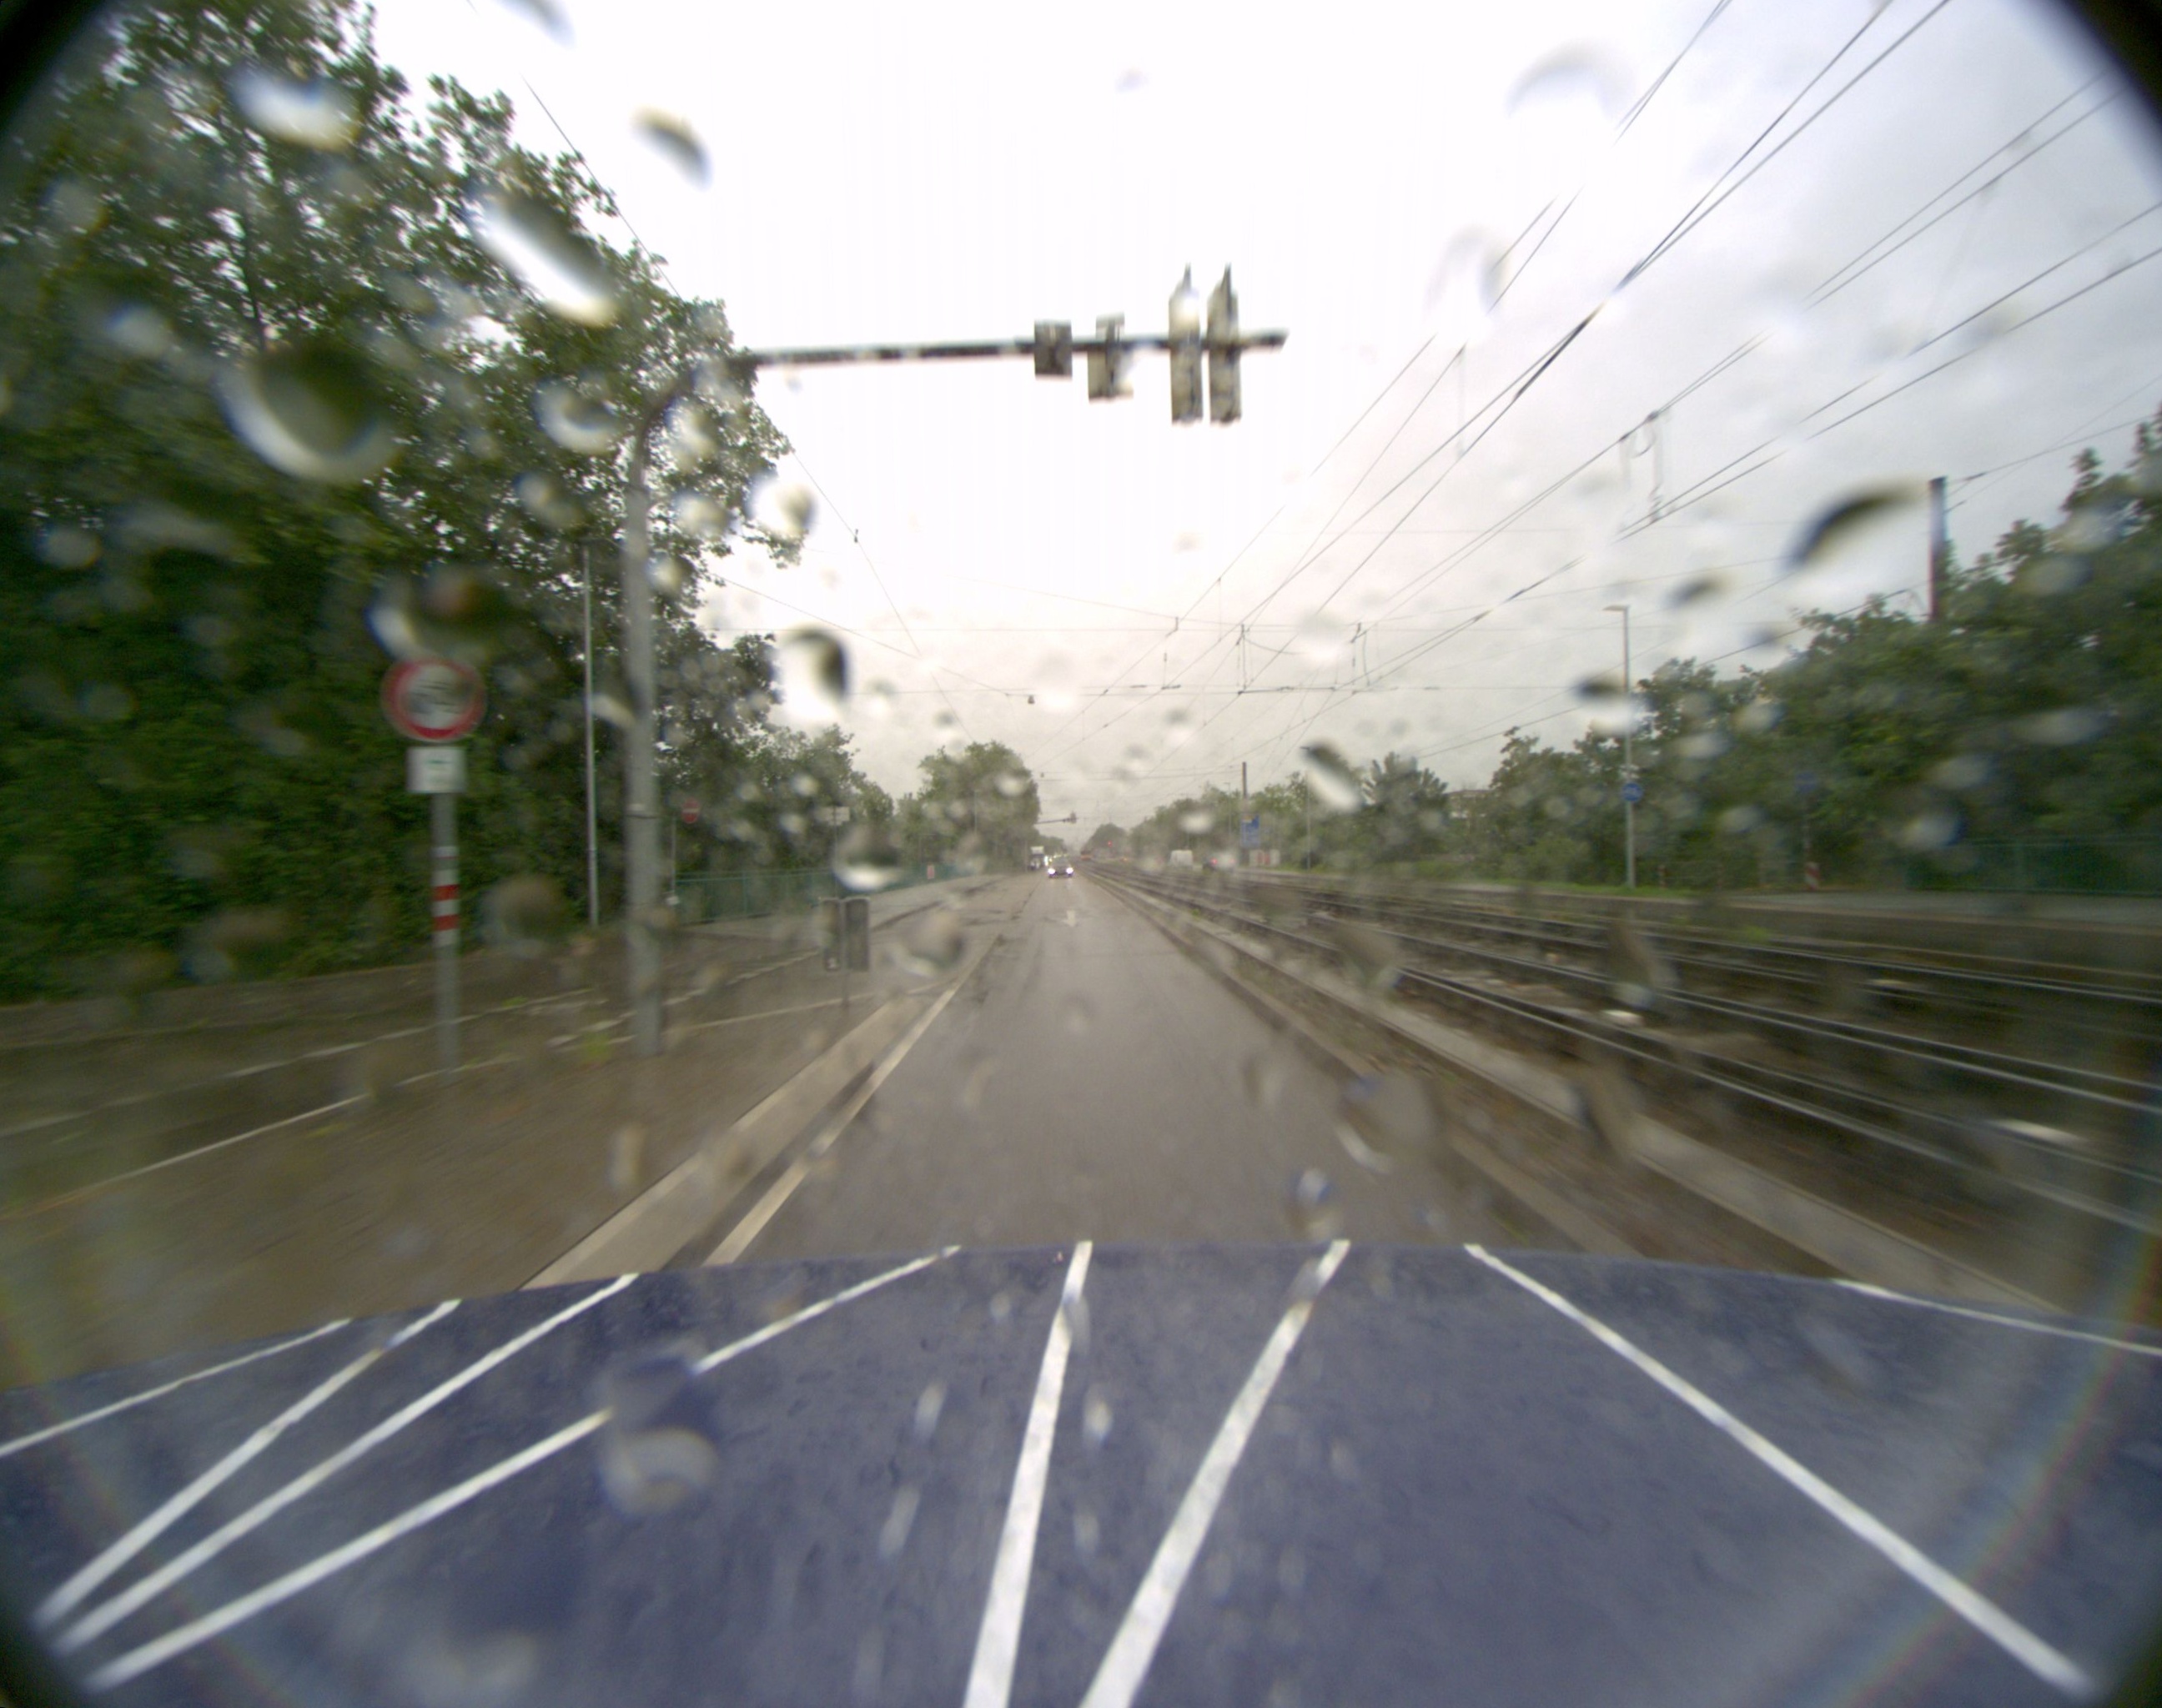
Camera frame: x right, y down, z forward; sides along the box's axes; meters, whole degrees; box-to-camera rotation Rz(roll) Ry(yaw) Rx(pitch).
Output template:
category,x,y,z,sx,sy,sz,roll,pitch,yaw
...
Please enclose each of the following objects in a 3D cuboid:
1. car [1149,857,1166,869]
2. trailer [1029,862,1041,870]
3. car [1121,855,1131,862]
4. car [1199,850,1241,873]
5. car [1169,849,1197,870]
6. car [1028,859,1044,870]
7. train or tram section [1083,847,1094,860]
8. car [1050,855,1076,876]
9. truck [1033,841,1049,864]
category,x,y,z,sx,sy,sz,roll,pitch,yaw
car,10.417,1.221,103.772,1.728,1.591,3.650,-3,1,-2
trailer,-6.016,1.537,99.609,1.547,0.931,3.275,-3,-1,-2
car,10.583,1.012,178.872,1.999,1.639,5.370,-3,0,-2
car,10.761,0.555,59.234,1.999,1.639,5.370,-3,0,-2
car,10.571,0.559,79.207,1.999,2.032,5.027,-3,0,-2
car,-6.259,1.454,105.260,1.999,1.394,4.196,-3,-1,-2
train or tram section,2.057,-0.284,223.890,2.460,3.603,15.102,-3,0,-2
car,-1.457,0.946,62.667,1.999,1.497,4.196,-3,-1,-2
truck,-7.325,-0.230,141.414,2.567,3.847,7.845,-3,-1,-2
